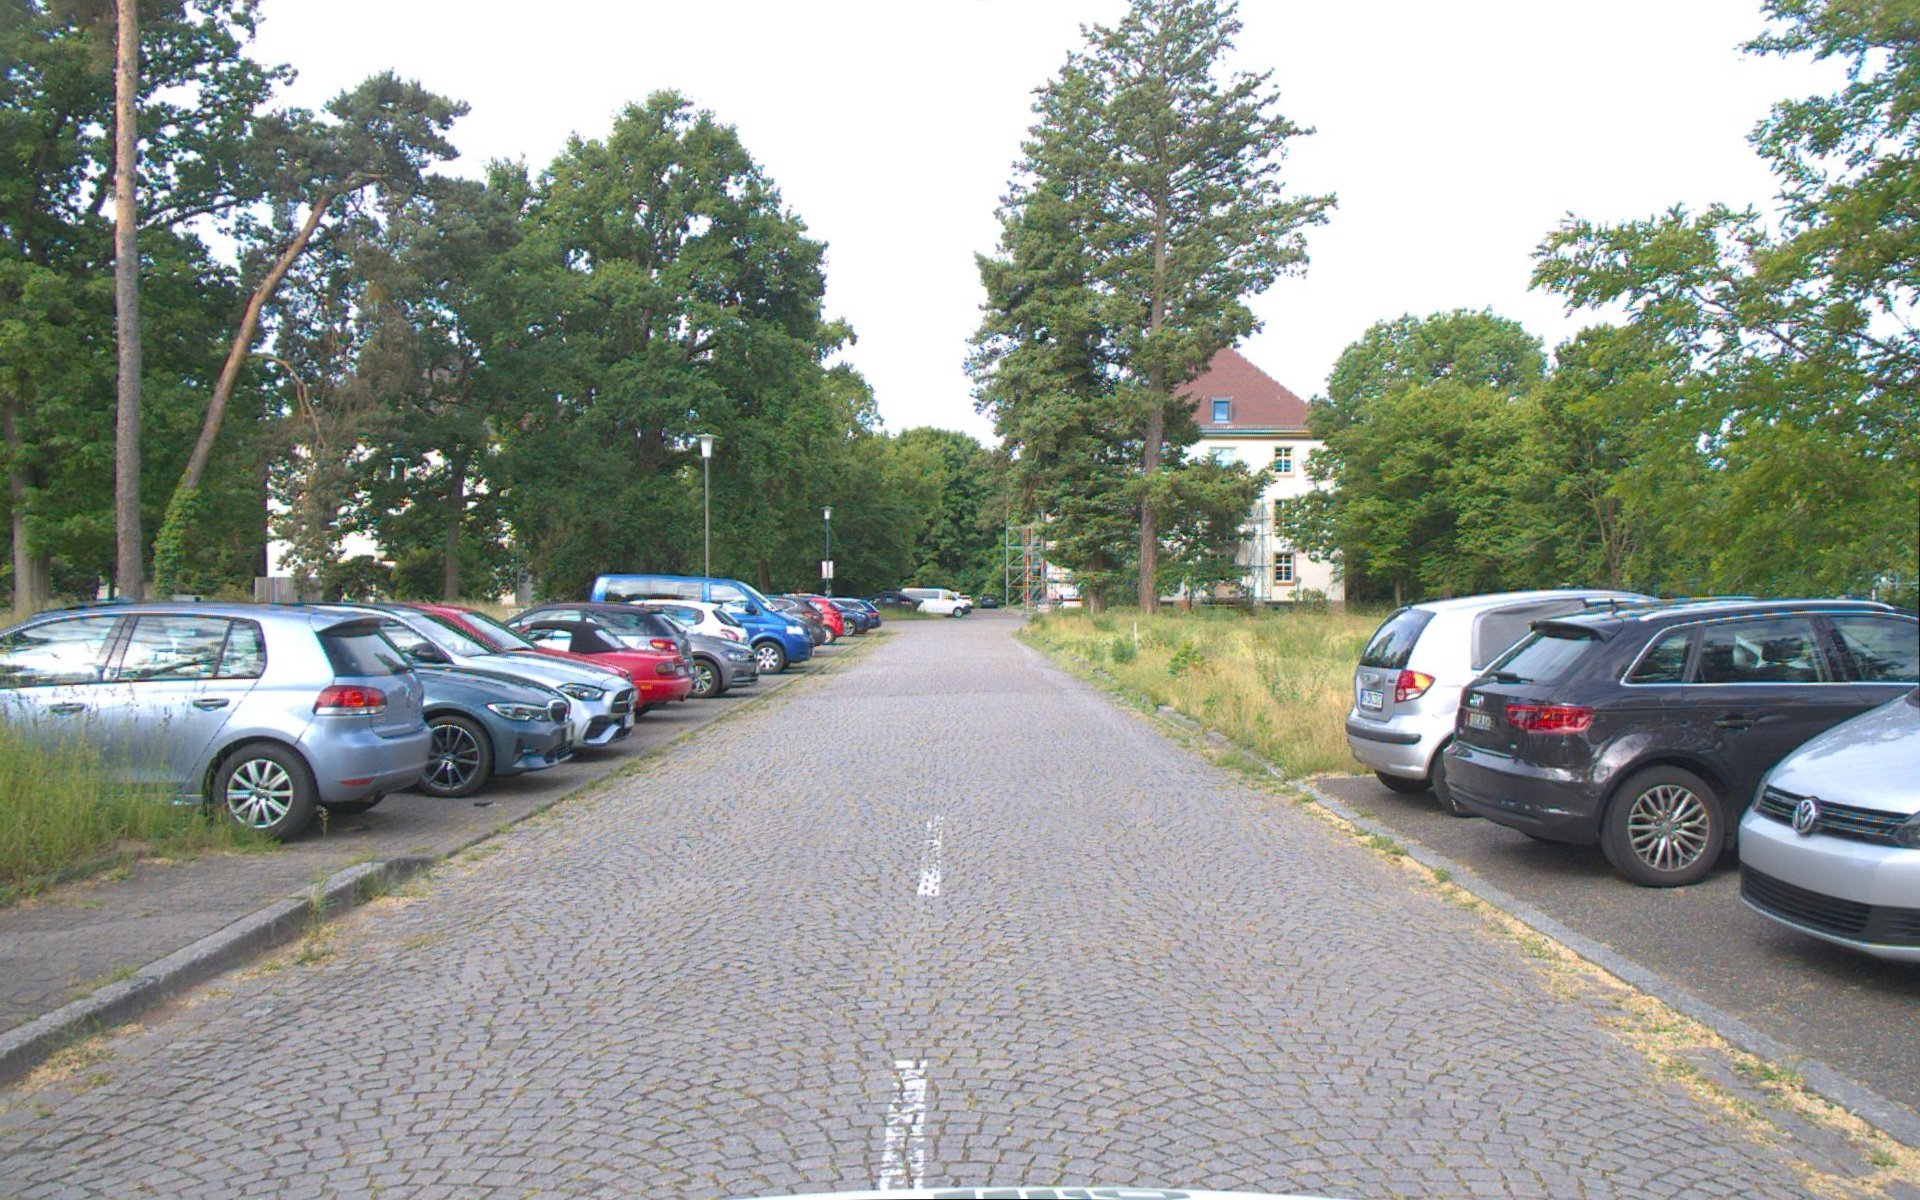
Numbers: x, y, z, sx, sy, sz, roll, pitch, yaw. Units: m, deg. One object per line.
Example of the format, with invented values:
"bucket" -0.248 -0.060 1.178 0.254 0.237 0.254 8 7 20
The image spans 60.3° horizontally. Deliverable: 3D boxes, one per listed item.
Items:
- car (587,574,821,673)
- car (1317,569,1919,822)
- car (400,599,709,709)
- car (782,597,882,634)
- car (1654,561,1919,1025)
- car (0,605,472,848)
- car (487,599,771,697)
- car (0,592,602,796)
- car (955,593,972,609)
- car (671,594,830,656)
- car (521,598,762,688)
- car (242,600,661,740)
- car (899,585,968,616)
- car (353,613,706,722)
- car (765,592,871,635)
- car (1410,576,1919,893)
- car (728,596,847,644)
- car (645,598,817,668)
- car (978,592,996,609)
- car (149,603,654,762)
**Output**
"car" -5.329 0.479 34.896 4.614 2.015 2.038 0 0 -1
"car" 4.702 0.627 12.117 3.697 1.505 1.742 -3 1 -3
"car" -5.771 0.743 23.844 4.004 1.506 1.755 0 0 1
"car" -5.315 0.622 69.028 3.986 1.493 1.626 0 0 3
"car" 5.348 0.569 6.735 4.246 1.602 1.825 -3 0 -6
"car" -5.698 0.783 11.159 4.240 1.496 1.827 0 -1 1
"car" -5.283 0.745 26.731 4.215 1.506 1.731 0 0 1
"car" -5.369 0.732 13.789 4.412 1.564 1.869 0 -1 -4
"car" 0.419 0.138 184.089 1.754 1.665 4.059 -1 -1 -2
"car" -5.490 0.642 43.765 3.985 1.602 1.954 0 0 -2
"car" -5.632 0.744 29.594 3.922 1.528 1.843 0 0 1
"car" -5.657 0.756 18.781 4.167 1.480 1.855 0 0 0
"car" -1.901 0.025 118.030 4.877 2.109 2.051 1 -1 -2
"car" -5.417 0.838 21.166 4.046 1.305 1.764 0 0 0
"car" -5.493 0.528 64.330 3.989 1.632 1.787 0 0 -2
"car" 4.978 0.644 9.418 4.278 1.430 1.796 -3 1 -2
"car" -5.611 0.634 54.079 3.738 1.515 1.787 0 0 -1
"car" -5.141 0.732 37.488 3.717 1.519 1.725 0 0 -3
"car" 2.989 0.076 184.431 1.754 1.750 4.059 -1 -1 -2
"car" -5.416 0.774 16.474 4.345 1.481 1.949 0 -1 0
